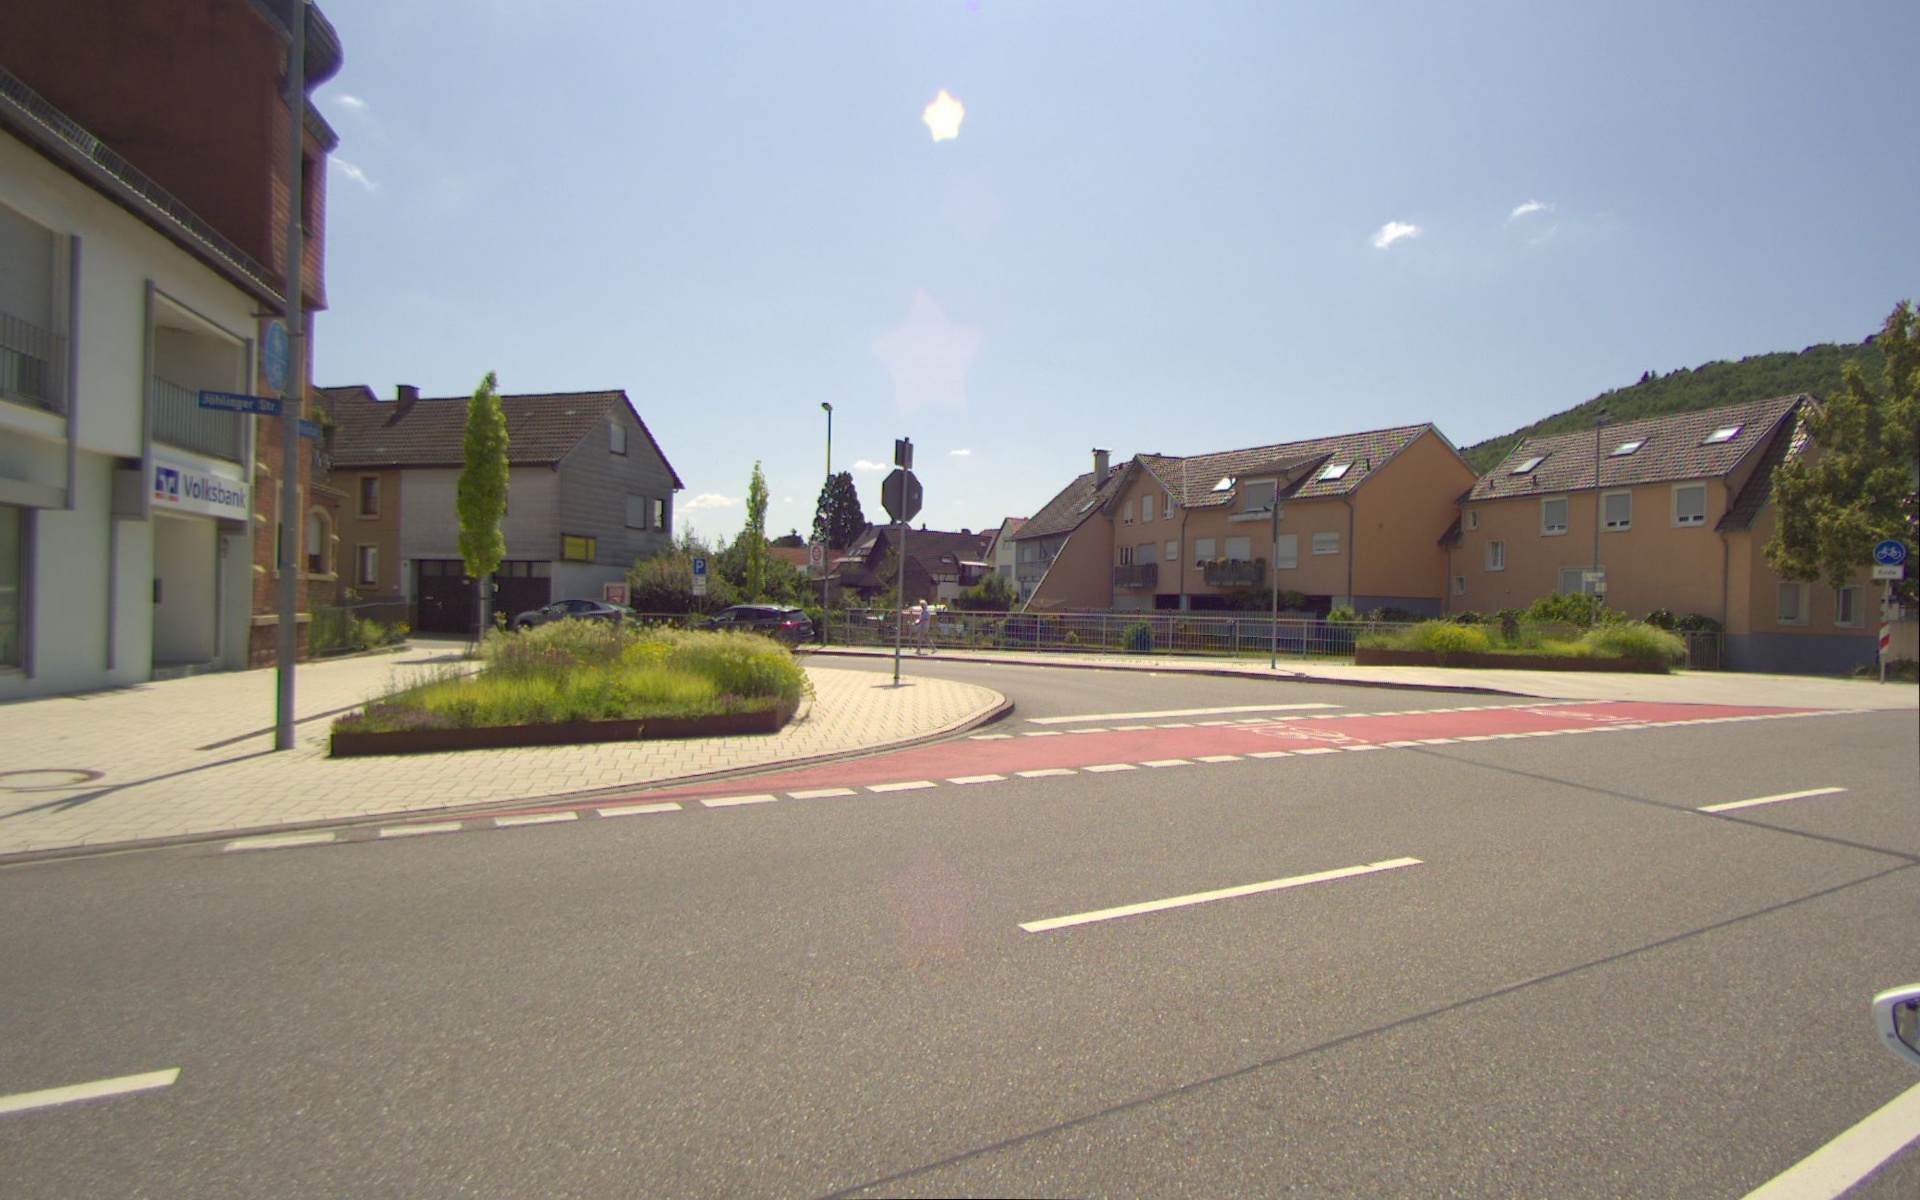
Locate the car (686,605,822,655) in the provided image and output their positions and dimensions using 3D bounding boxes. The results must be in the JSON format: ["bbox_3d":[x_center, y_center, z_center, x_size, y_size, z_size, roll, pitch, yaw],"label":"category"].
[{"bbox_3d":[-6.644,0.937,32.465,3.921,1.483,1.861,1,0,20],"label":"car"}]

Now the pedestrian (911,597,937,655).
[{"bbox_3d":[-1.135,0.811,31.425,0.603,1.772,0.506,1,0,24],"label":"pedestrian"}]

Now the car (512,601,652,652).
[{"bbox_3d":[-12.693,0.888,33.754,4.149,1.567,1.789,1,-1,17],"label":"car"}]
